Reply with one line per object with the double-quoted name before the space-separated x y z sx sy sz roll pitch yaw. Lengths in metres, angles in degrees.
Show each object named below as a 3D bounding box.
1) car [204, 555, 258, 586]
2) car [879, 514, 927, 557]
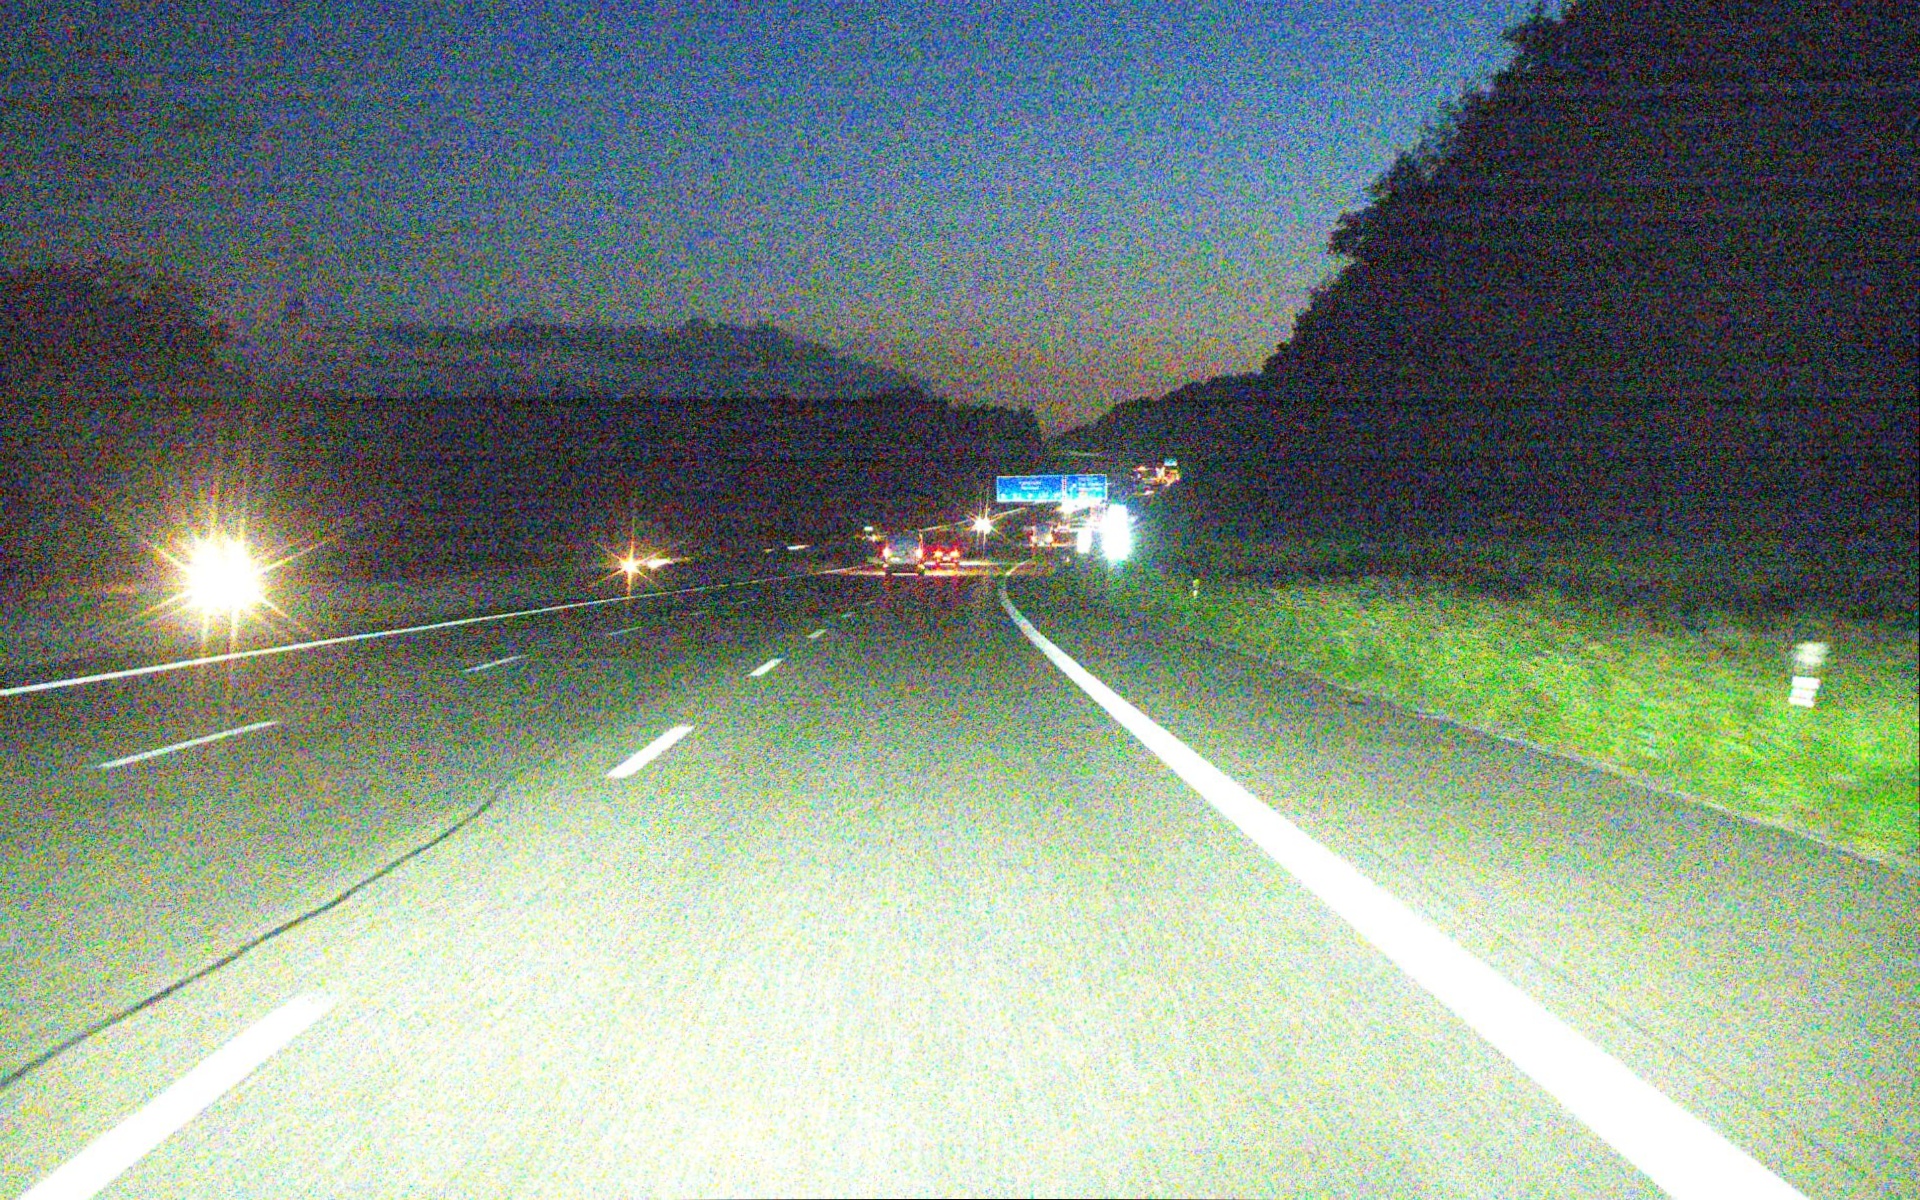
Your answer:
"car" -31.018 -1.253 146.348 1.591 1.260 4.001 0 1 -3
"car" -3.114 -3.541 189.612 2.511 2.306 4.971 0 1 1
